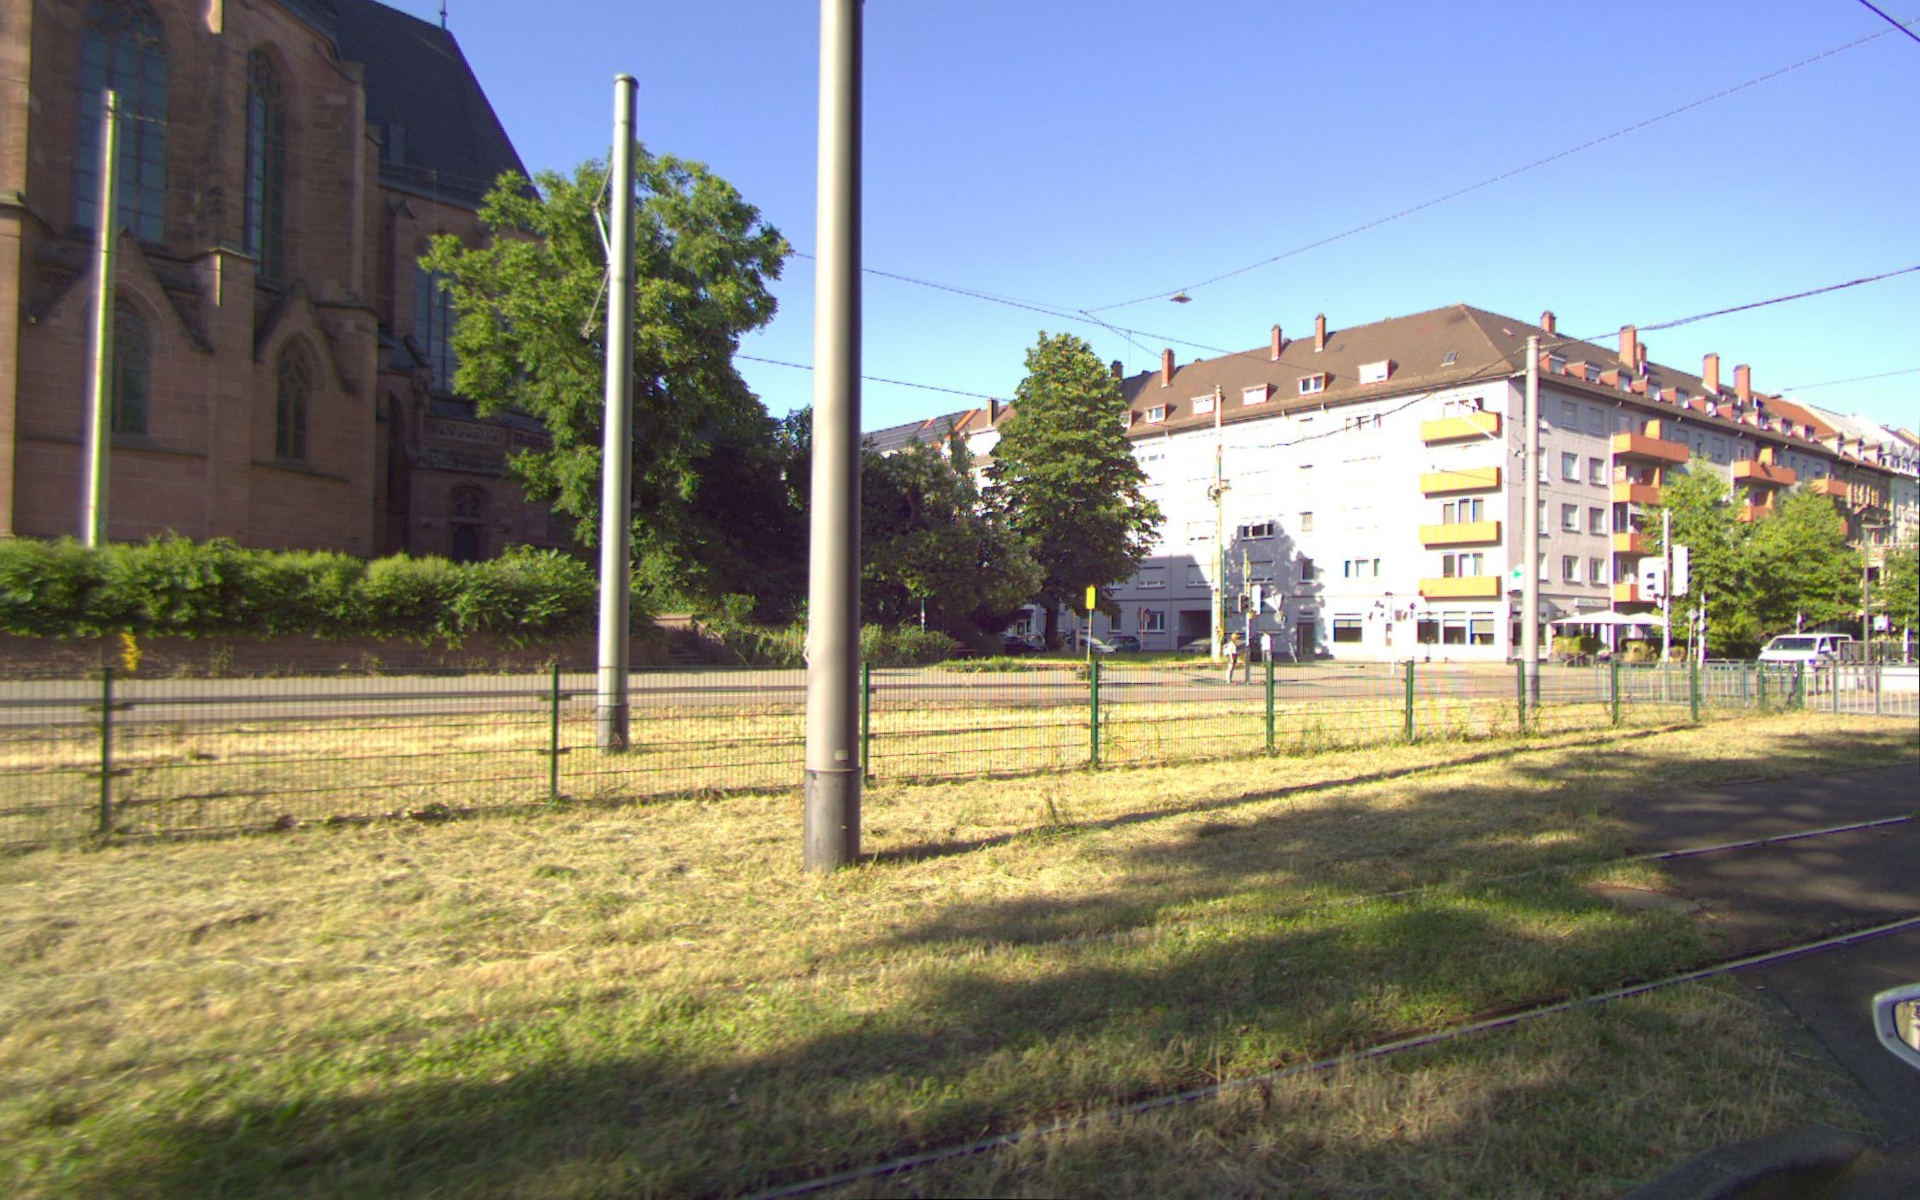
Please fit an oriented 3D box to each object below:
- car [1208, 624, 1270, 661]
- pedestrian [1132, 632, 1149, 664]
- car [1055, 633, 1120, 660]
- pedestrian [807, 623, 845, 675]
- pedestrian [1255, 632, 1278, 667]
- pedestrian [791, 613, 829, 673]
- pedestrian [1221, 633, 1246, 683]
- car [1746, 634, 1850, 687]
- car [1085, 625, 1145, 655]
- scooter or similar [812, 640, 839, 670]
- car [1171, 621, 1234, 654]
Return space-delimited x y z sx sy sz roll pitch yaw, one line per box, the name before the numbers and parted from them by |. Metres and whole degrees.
car | 16.738 2.535 60.238 3.955 2.040 1.801 2 0 -44
pedestrian | 9.541 2.521 53.016 0.712 1.676 0.508 2 -3 -30
car | 7.500 2.702 59.212 1.685 1.439 3.632 2 -1 -40
pedestrian | -4.020 1.464 30.199 0.937 1.509 0.582 1 1 -34
pedestrian | 13.954 2.244 45.776 0.720 1.577 0.653 1 1 -32
pedestrian | -4.585 1.304 30.722 0.937 1.808 0.582 1 1 -34
pedestrian | 9.423 1.992 34.617 0.487 1.695 0.751 2 1 44
car | 33.967 2.480 40.680 4.962 2.039 1.981 3 -5 -35
car | 10.384 2.656 67.175 3.973 1.884 1.974 2 0 -44
scooter or similar | -4.360 1.781 32.599 0.304 0.948 0.917 2 0 37
car | 15.035 2.305 62.205 3.973 1.884 1.974 2 0 -44
